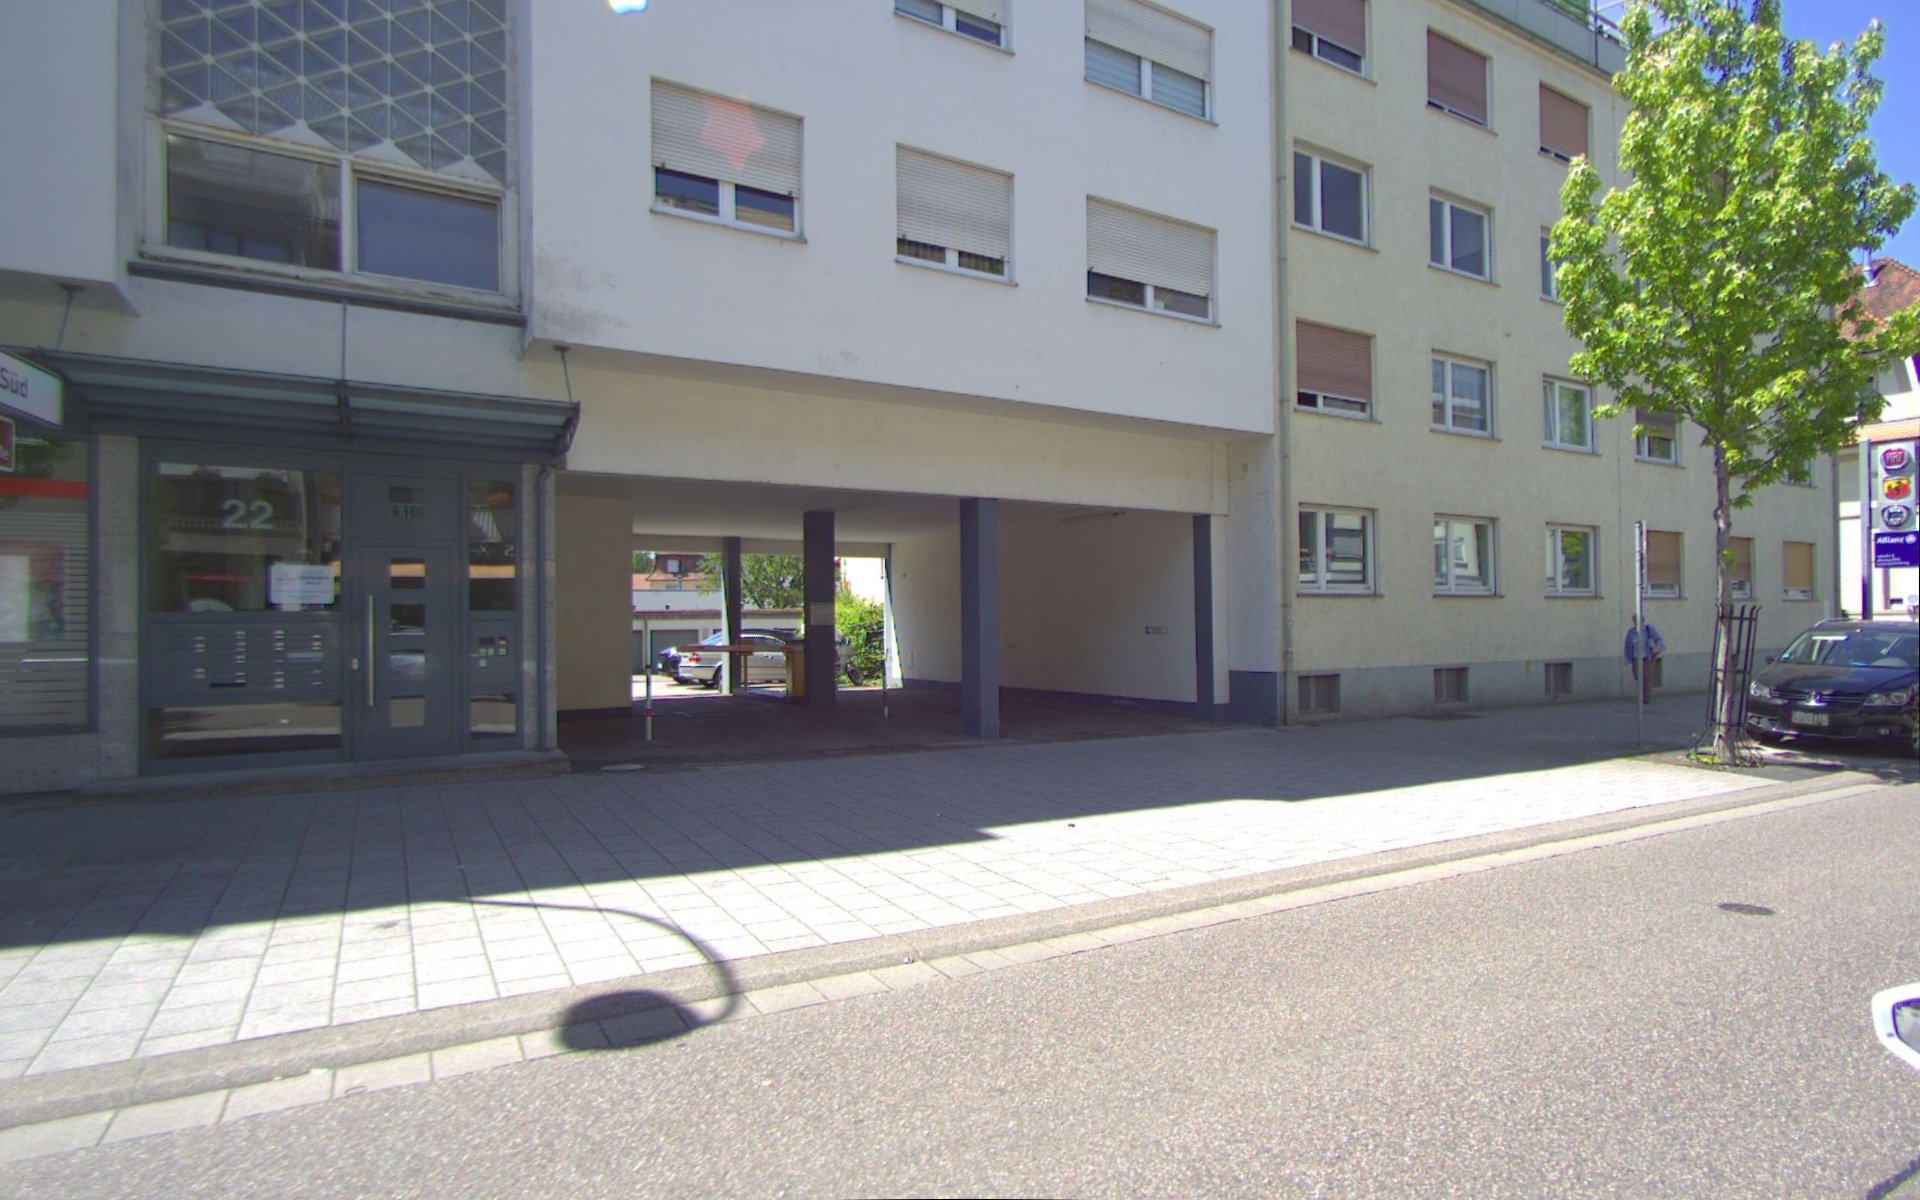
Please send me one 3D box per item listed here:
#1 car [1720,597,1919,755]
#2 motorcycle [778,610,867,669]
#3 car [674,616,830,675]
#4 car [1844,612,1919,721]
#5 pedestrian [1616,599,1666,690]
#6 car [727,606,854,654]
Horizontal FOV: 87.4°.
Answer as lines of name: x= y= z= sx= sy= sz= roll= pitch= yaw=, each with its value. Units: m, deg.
car: x=12.141 y=0.888 z=13.411 sx=4.343 sy=1.764 sz=1.719 roll=0 pitch=2 yaw=-32
motorcycle: x=-3.603 y=1.022 z=26.421 sx=2.204 sy=1.505 sz=0.678 roll=0 pitch=-2 yaw=-31
car: x=-5.714 y=1.216 z=27.644 sx=3.867 sy=1.518 sz=1.820 roll=0 pitch=-2 yaw=-30
car: x=16.561 y=1.038 z=16.577 sx=4.343 sy=1.641 sz=1.814 roll=0 pitch=0 yaw=-32
pedestrian: x=13.045 y=0.845 z=19.247 sx=0.648 sy=1.703 sz=0.628 roll=-3 pitch=-1 yaw=42
car: x=-5.713 y=1.008 z=33.959 sx=3.867 sy=1.518 sz=1.820 roll=0 pitch=-2 yaw=-30
